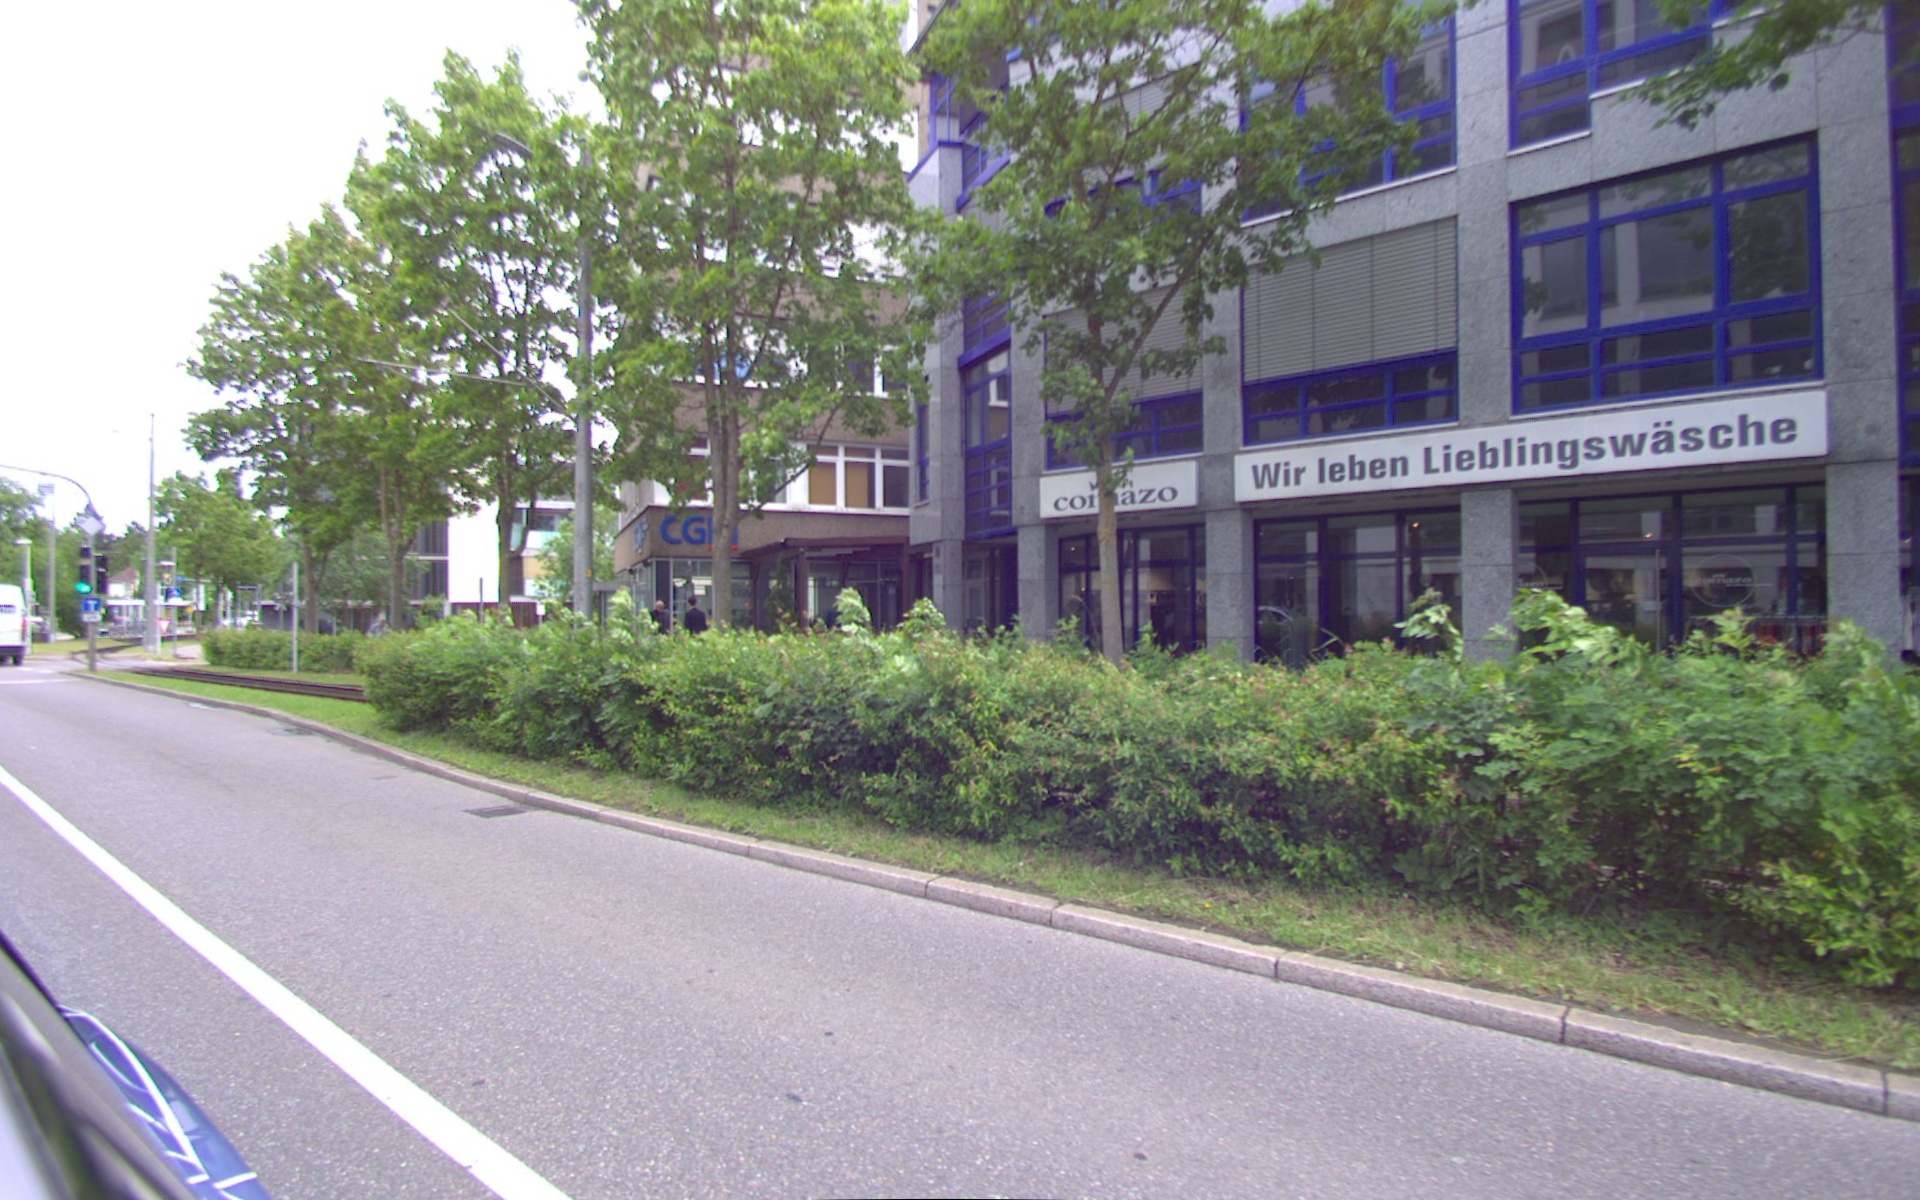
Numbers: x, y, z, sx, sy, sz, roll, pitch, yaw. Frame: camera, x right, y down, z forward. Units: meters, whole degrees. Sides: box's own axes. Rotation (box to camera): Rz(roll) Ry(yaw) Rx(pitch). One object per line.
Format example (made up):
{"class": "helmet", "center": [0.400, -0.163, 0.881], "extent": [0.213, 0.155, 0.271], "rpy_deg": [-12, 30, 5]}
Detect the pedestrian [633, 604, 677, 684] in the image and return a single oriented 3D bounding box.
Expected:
{"class": "pedestrian", "center": [-7.466, 1.048, 24.767], "extent": [0.731, 1.908, 0.767], "rpy_deg": [-1, 0, 39]}

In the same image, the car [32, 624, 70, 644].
{"class": "car", "center": [-96.014, 3.547, 106.892], "extent": [1.965, 2.029, 4.013], "rpy_deg": [0, 0, -26]}

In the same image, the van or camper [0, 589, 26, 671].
{"class": "van or camper", "center": [-34.947, 1.041, 35.927], "extent": [6.151, 2.754, 2.085], "rpy_deg": [-1, 0, 42]}

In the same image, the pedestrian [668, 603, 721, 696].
{"class": "pedestrian", "center": [-5.682, 1.031, 21.665], "extent": [0.731, 1.938, 0.805], "rpy_deg": [-1, 0, 40]}

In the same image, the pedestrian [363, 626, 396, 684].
{"class": "pedestrian", "center": [-18.445, 1.731, 32.164], "extent": [0.730, 1.819, 0.672], "rpy_deg": [-1, 0, 36]}
